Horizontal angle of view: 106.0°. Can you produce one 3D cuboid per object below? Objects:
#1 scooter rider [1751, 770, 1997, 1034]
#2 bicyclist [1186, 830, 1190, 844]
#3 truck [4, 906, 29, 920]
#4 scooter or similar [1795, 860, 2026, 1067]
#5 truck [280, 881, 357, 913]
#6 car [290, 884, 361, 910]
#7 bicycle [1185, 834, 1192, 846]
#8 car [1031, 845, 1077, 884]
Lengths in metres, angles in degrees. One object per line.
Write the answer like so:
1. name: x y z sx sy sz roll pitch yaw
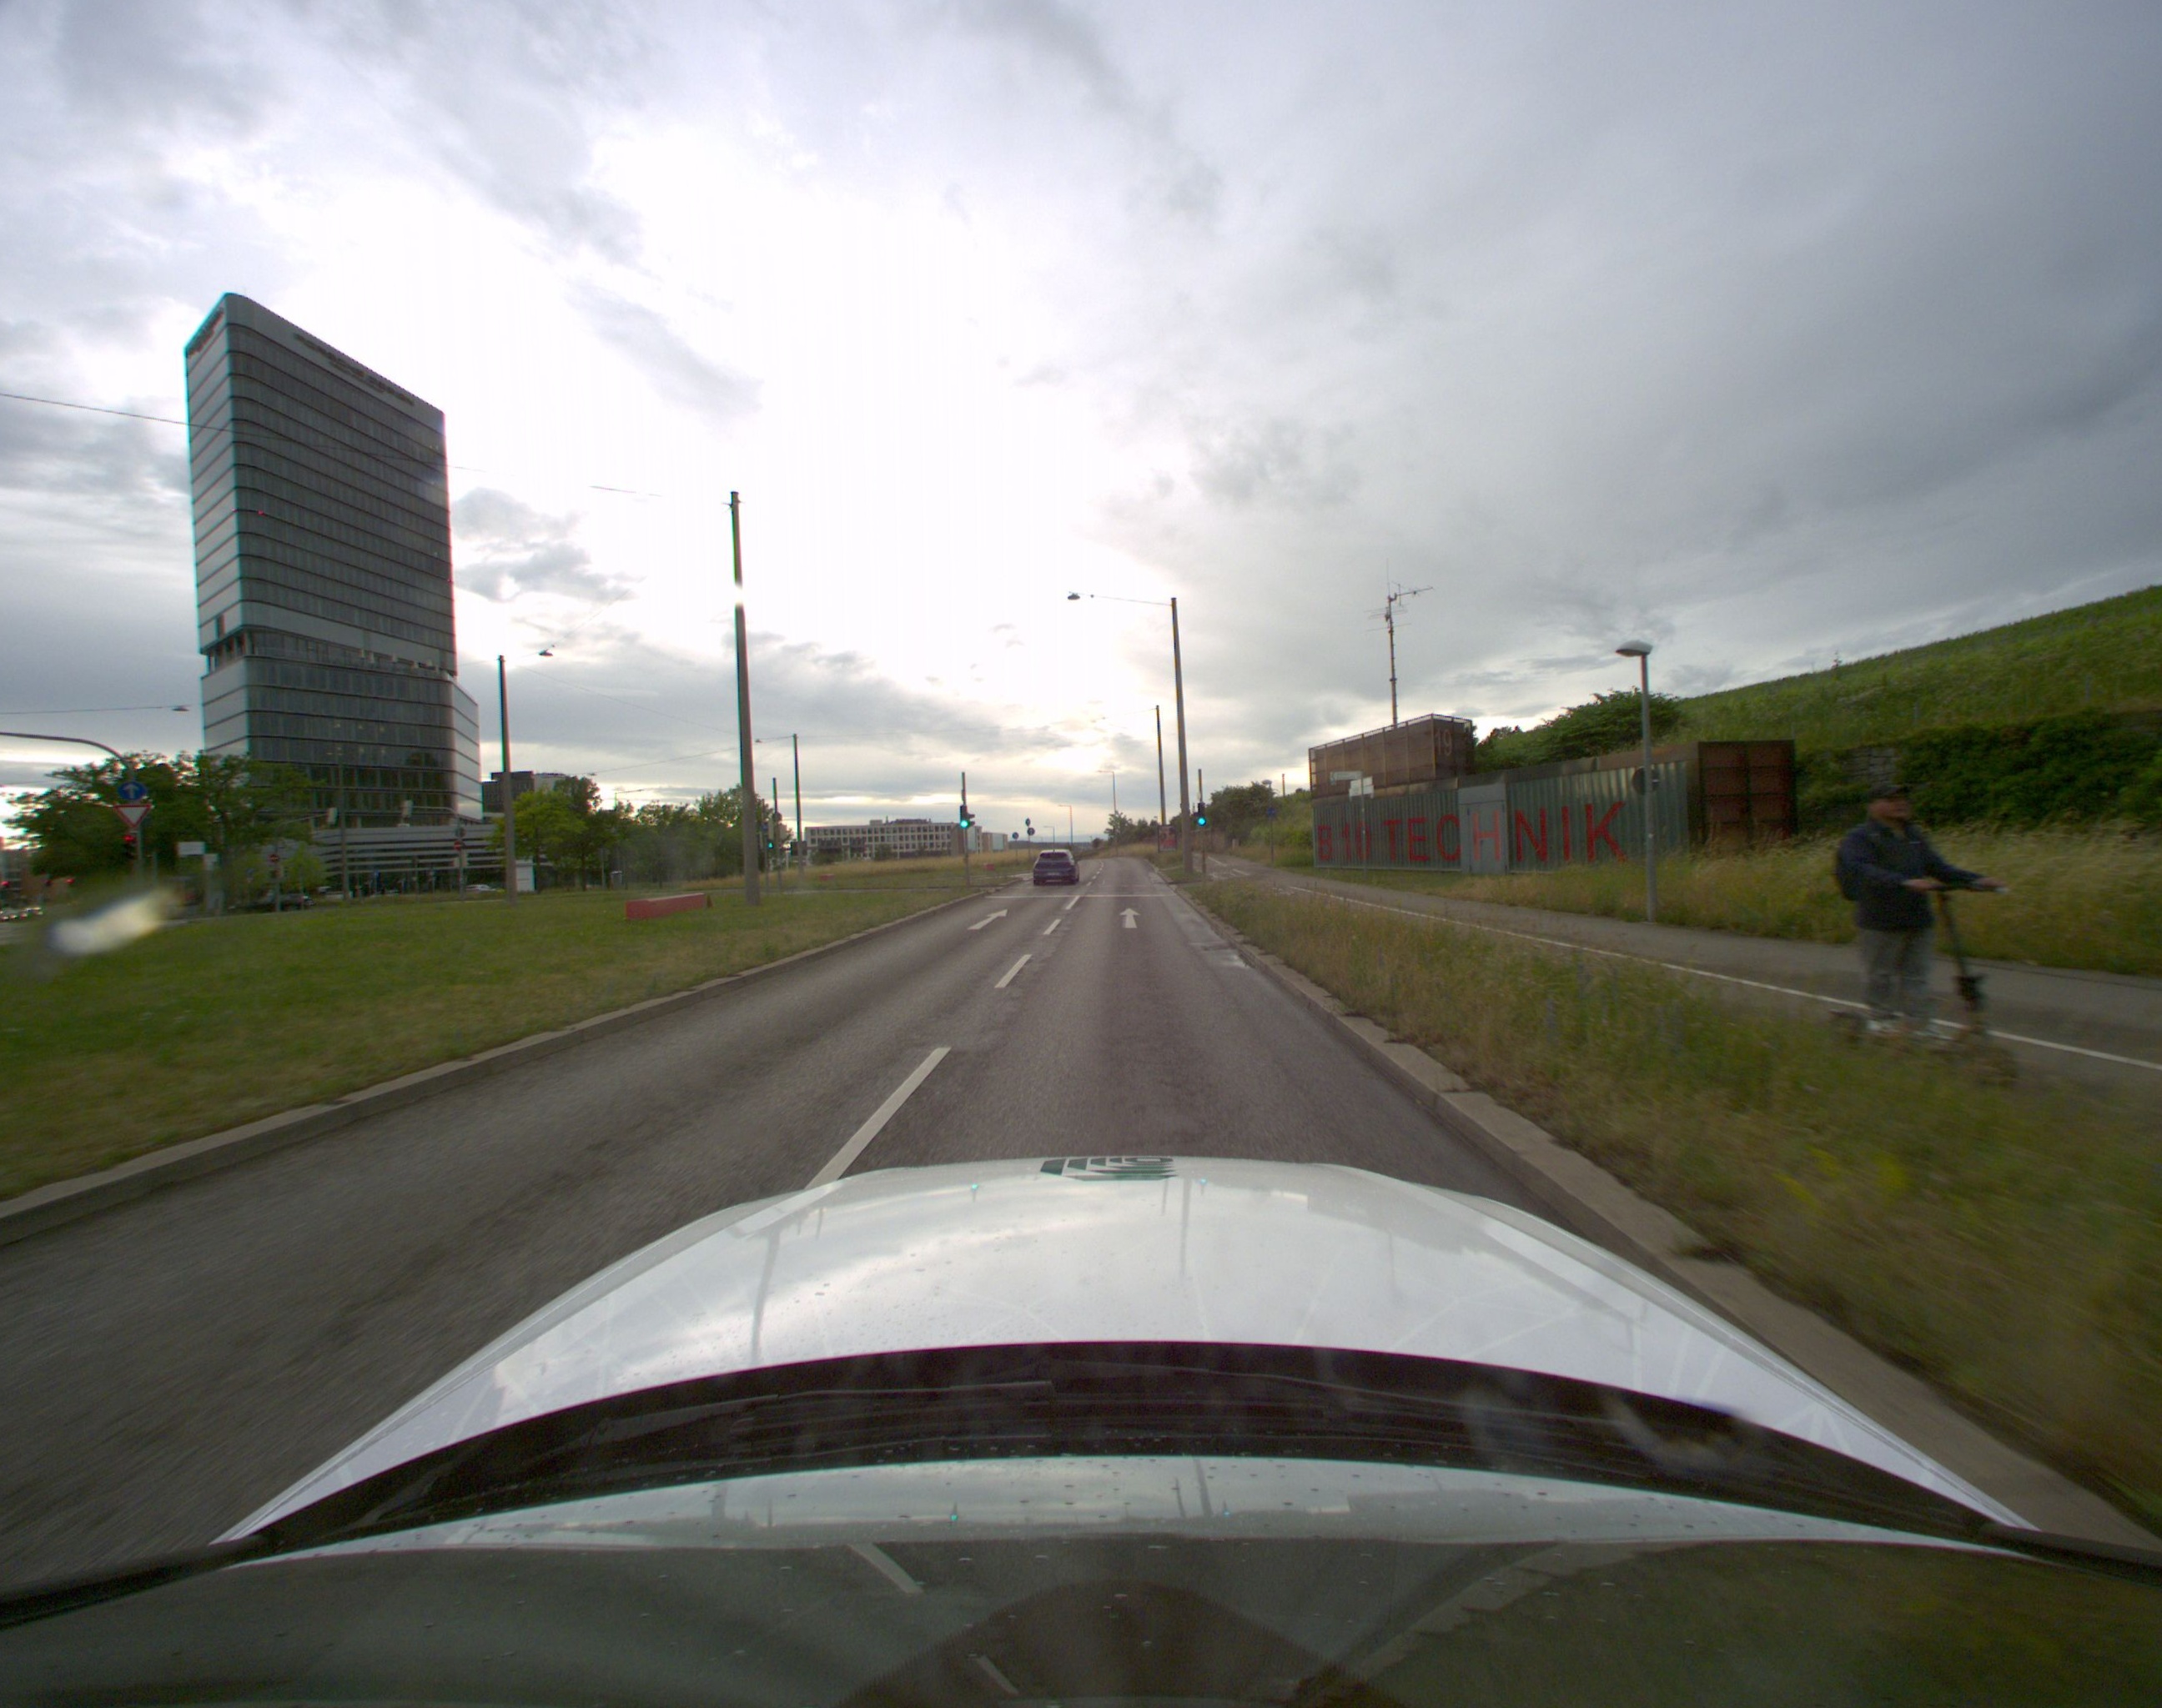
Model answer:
1. scooter rider: 5.363 0.301 5.572 0.803 1.628 0.829 -4 0 1
2. bicyclist: 9.474 -1.487 72.231 0.264 1.196 0.316 -1 1 4
3. truck: -171.630 9.467 131.266 3.948 2.013 2.013 -2 0 31
4. scooter or similar: 5.366 0.647 5.347 0.399 1.196 1.114 0 1 2
5. truck: -56.363 3.123 60.222 1.975 2.013 4.024 -2 1 45
6. car: -53.463 3.028 57.686 3.591 1.561 1.627 -2 1 -43
7. bicycle: 9.513 -1.221 72.260 0.548 1.068 0.616 -1 1 4
8. car: -1.185 0.407 34.911 1.833 1.393 3.997 -1 2 -3
